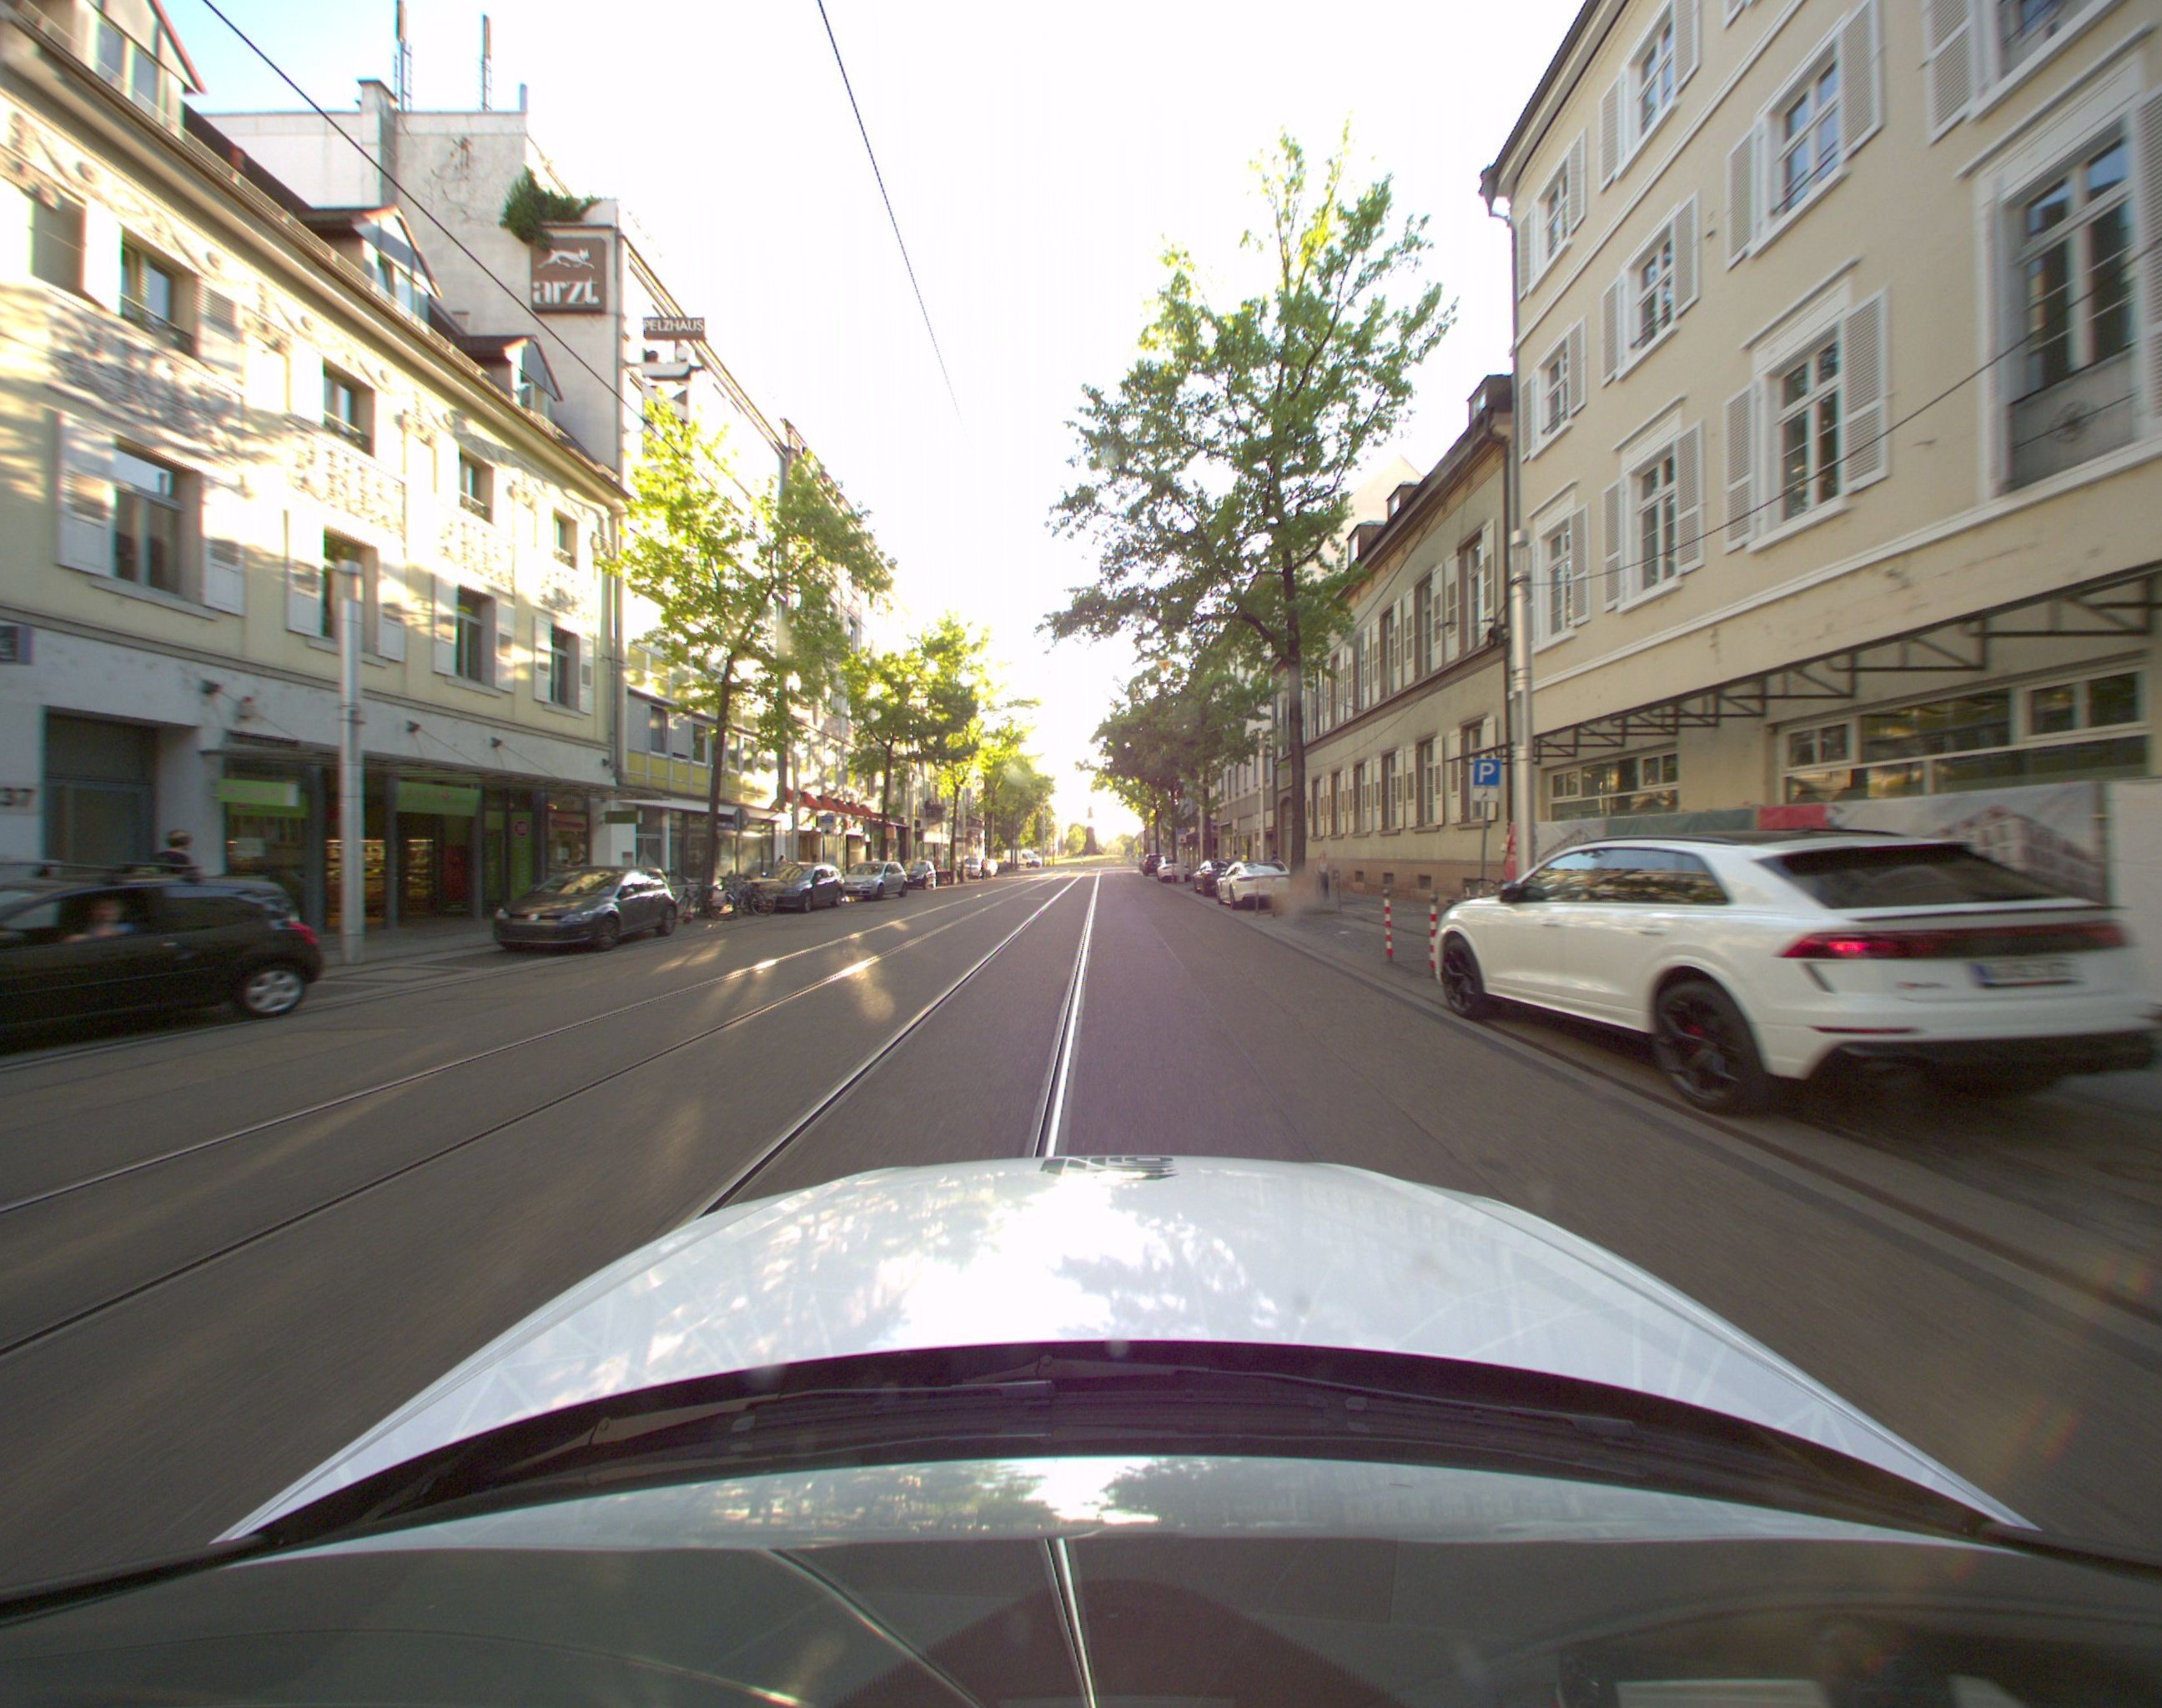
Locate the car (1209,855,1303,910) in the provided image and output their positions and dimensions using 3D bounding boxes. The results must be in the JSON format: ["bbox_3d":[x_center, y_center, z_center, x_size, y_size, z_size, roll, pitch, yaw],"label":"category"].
[{"bbox_3d":[5.223,0.789,24.926,1.905,1.420,4.890,-3,0,2],"label":"car"}]

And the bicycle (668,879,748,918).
[{"bbox_3d":[-9.886,1.168,21.602,1.961,1.001,0.420,-1,0,5],"label":"bicycle"}]

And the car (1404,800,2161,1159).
[{"bbox_3d":[4.661,0.636,6.537,1.992,1.688,4.964,-3,-1,-2],"label":"car"}]

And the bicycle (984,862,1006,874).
[{"bbox_3d":[-8.384,1.330,79.200,2.015,1.105,0.501,1,-1,3],"label":"bicycle"}]

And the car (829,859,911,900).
[{"bbox_3d":[-8.190,0.954,31.986,1.758,1.497,4.182,0,-1,6],"label":"car"}]

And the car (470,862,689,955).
[{"bbox_3d":[-9.323,0.933,15.614,1.789,1.490,4.235,1,0,-5],"label":"car"}]

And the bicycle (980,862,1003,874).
[{"bbox_3d":[-8.481,1.319,77.115,2.033,1.105,0.497,2,-1,-24],"label":"bicycle"}]

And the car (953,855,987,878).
[{"bbox_3d":[-8.416,0.943,62.270,1.829,1.580,4.118,3,0,2],"label":"car"}]

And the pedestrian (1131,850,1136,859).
[{"bbox_3d":[8.758,0.102,135.683,0.634,1.606,0.771,-1,0,-1],"label":"pedestrian"}]

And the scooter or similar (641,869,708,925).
[{"bbox_3d":[-9.707,1.024,19.450,1.412,1.270,0.375,1,0,5],"label":"scooter or similar"}]

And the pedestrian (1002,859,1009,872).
[{"bbox_3d":[-7.935,1.217,85.491,0.726,1.290,0.856,0,0,-1],"label":"pedestrian"}]

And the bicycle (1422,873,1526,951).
[{"bbox_3d":[6.191,0.880,12.958,0.417,1.100,1.982,-2,0,-8],"label":"bicycle"}]

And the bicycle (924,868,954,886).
[{"bbox_3d":[-8.138,1.335,46.818,1.607,0.965,0.433,1,0,6],"label":"bicycle"}]

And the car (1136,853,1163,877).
[{"bbox_3d":[5.706,0.893,68.340,1.931,1.759,4.681,-4,0,1],"label":"car"}]

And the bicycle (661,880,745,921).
[{"bbox_3d":[-9.434,1.161,20.343,1.962,1.001,0.331,-1,-1,3],"label":"bicycle"}]

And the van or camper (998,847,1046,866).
[{"bbox_3d":[-8.128,0.374,112.001,6.238,2.472,2.632,-1,0,34],"label":"van or camper"}]

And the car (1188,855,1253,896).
[{"bbox_3d":[5.593,0.812,33.131,1.826,1.478,4.762,-3,0,1],"label":"car"}]

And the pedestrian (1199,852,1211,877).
[{"bbox_3d":[8.584,0.732,56.408,0.641,1.670,0.786,-4,0,1],"label":"pedestrian"}]

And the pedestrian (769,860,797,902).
[{"bbox_3d":[-12.126,1.079,33.159,0.786,1.693,0.914,-1,0,0],"label":"pedestrian"}]

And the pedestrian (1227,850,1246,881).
[{"bbox_3d":[9.145,0.693,48.067,0.855,1.753,0.933,-4,0,1],"label":"pedestrian"}]

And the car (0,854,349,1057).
[{"bbox_3d":[-9.384,0.829,7.409,1.618,1.616,3.724,1,0,16],"label":"car"}]

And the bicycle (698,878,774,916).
[{"bbox_3d":[-9.499,1.182,22.425,1.962,1.001,0.331,-1,-1,3],"label":"bicycle"}]

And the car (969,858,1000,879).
[{"bbox_3d":[-7.965,1.171,67.516,1.829,1.580,4.704,3,0,2],"label":"car"}]

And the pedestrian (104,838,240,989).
[{"bbox_3d":[-11.622,0.731,10.445,0.657,1.825,0.879,2,0,1],"label":"pedestrian"}]

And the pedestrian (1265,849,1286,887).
[{"bbox_3d":[8.932,0.638,37.378,0.655,1.665,0.888,-3,0,0],"label":"pedestrian"}]

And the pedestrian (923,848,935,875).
[{"bbox_3d":[-11.498,0.560,61.534,0.719,2.014,0.643,-1,0,1],"label":"pedestrian"}]

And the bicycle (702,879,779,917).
[{"bbox_3d":[-9.210,1.179,22.034,1.962,1.001,0.331,-1,-1,3],"label":"bicycle"}]

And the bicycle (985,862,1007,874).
[{"bbox_3d":[-8.239,1.330,78.612,2.015,1.105,0.501,1,-1,3],"label":"bicycle"}]

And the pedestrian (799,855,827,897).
[{"bbox_3d":[-10.953,0.882,33.293,0.841,1.693,0.740,-1,0,0],"label":"pedestrian"}]

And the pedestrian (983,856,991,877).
[{"bbox_3d":[-6.932,0.938,59.996,0.519,1.569,0.634,-1,-1,2],"label":"pedestrian"}]

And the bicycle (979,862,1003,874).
[{"bbox_3d":[-8.441,1.291,76.509,2.118,1.105,0.497,2,-1,-24],"label":"bicycle"}]

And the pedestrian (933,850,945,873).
[{"bbox_3d":[-10.721,0.549,61.517,0.719,1.760,1.090,-1,0,1],"label":"pedestrian"}]

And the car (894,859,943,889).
[{"bbox_3d":[-8.428,1.009,42.549,1.660,1.428,3.828,2,0,1],"label":"car"}]

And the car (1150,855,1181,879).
[{"bbox_3d":[6.065,0.917,58.544,1.770,1.591,3.892,-4,0,1],"label":"car"}]

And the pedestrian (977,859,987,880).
[{"bbox_3d":[-7.169,1.125,59.160,0.617,1.509,0.730,-1,-1,2],"label":"pedestrian"}]

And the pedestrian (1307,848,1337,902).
[{"bbox_3d":[7.102,0.621,24.062,0.646,1.573,0.799,0,0,1],"label":"pedestrian"}]

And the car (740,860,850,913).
[{"bbox_3d":[-8.800,0.951,25.469,1.705,1.461,4.487,1,0,2],"label":"car"}]

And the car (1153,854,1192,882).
[{"bbox_3d":[5.679,0.844,50.946,1.986,1.498,4.682,-4,0,2],"label":"car"}]
